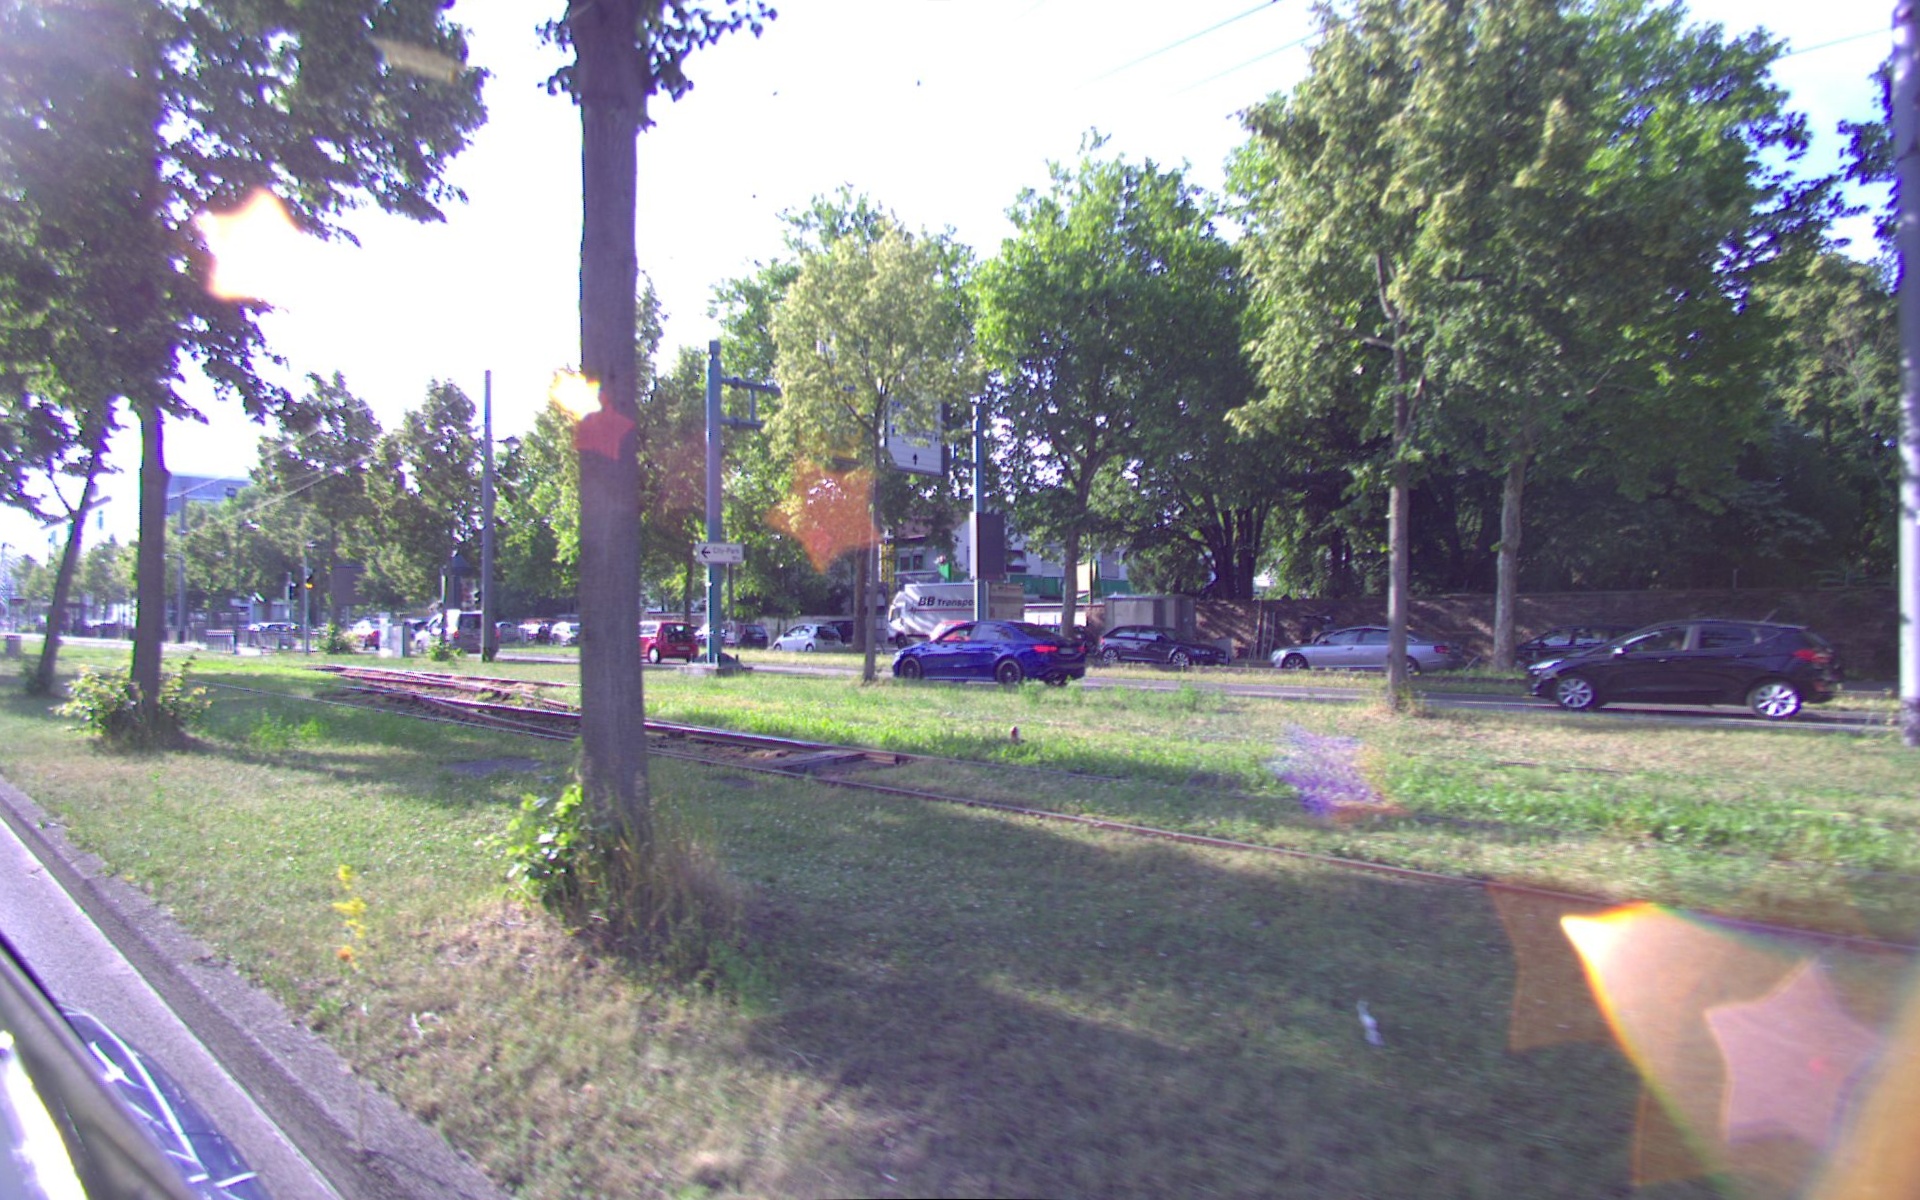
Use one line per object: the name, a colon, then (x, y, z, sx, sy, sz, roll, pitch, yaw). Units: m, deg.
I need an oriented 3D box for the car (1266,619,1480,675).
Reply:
car: (10.661, 1.172, 26.394, 4.899, 1.253, 1.658, -1, 1, 42)

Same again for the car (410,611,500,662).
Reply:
car: (-19.849, 1.388, 39.729, 4.216, 1.878, 1.664, -1, 1, 41)

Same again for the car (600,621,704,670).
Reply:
car: (-10.740, 1.529, 35.181, 3.928, 1.536, 1.664, -1, 0, 41)

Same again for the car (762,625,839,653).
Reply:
car: (-7.018, 1.683, 44.327, 3.773, 1.116, 1.284, -1, 1, 44)

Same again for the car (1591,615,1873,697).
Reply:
car: (15.808, 1.066, 20.892, 4.474, 1.442, 1.811, -1, 1, 42)

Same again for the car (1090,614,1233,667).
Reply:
car: (6.075, 1.180, 30.729, 3.957, 1.442, 1.653, -1, 1, 41)

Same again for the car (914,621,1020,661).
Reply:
car: (0.197, 1.451, 36.694, 1.564, 1.286, 3.964, -2, 1, -42)

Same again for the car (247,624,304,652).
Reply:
car: (-37.447, 2.034, 55.368, 3.957, 1.382, 1.664, -1, 1, 42)

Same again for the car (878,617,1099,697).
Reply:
car: (0.506, 1.106, 21.315, 4.669, 1.446, 1.664, -1, 1, 42)

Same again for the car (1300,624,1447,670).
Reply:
car: (14.283, 1.593, 35.121, 4.388, 1.385, 1.678, -1, 1, 45)

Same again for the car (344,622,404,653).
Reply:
car: (-30.489, 1.929, 52.629, 3.959, 1.459, 1.663, -1, 1, 44)

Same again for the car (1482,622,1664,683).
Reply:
car: (18.513, 1.536, 30.692, 4.474, 1.624, 1.811, -1, 1, 42)

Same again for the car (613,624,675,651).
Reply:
car: (-17.078, 2.011, 54.637, 3.782, 1.292, 1.437, -1, 1, 41)

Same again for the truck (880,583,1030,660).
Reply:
truck: (-0.393, 1.021, 51.378, 2.855, 3.542, 7.950, -2, 1, -44)

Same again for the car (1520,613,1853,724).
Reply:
car: (11.160, 0.957, 15.720, 4.034, 1.446, 1.664, -1, 1, 41)
